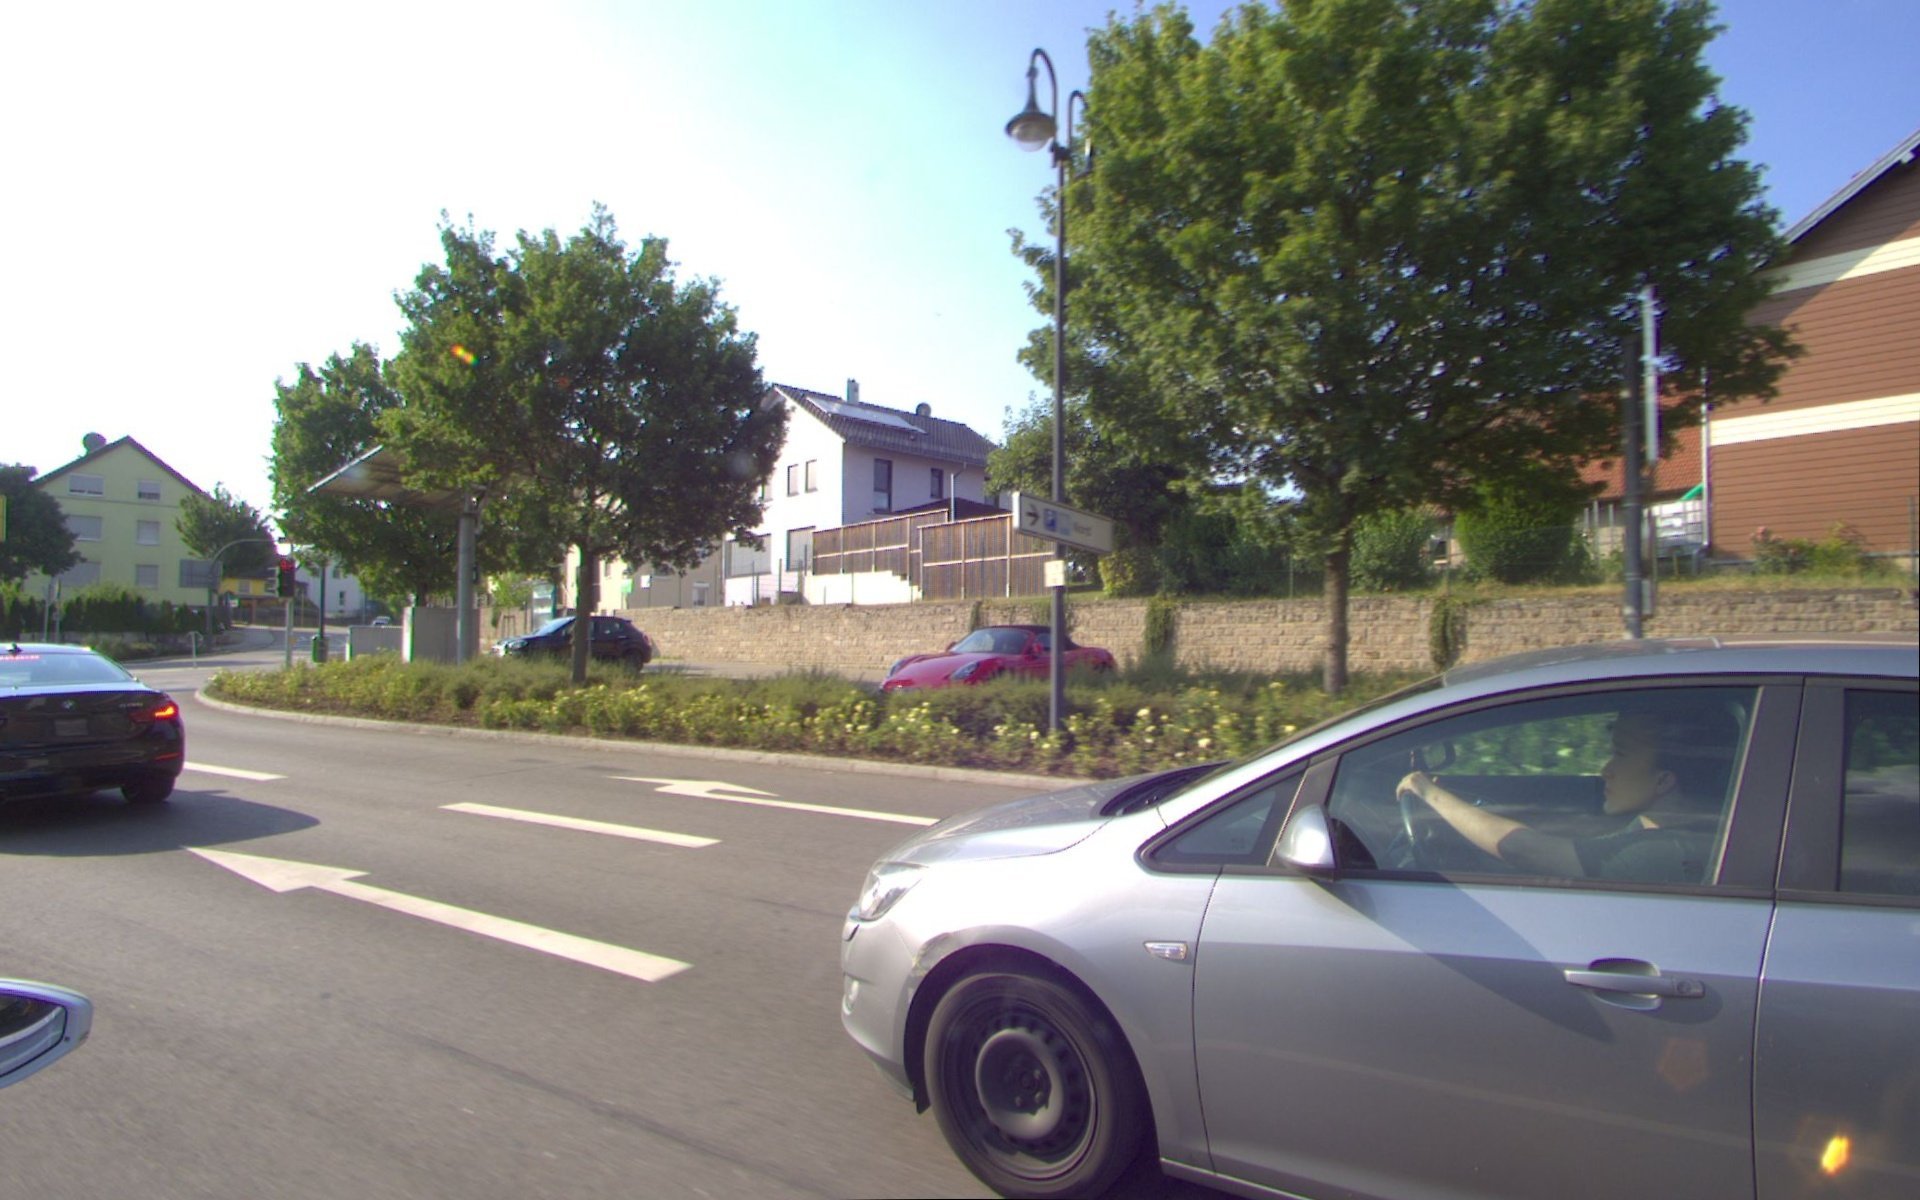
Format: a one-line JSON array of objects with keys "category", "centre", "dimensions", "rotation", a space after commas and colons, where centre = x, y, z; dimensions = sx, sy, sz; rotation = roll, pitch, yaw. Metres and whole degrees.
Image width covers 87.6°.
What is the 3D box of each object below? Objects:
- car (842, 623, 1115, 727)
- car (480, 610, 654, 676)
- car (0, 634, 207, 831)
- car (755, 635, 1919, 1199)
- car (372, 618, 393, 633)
[{"category": "car", "centre": [0.384, 1.010, 14.480], "dimensions": [1.833, 1.288, 3.968], "rotation": [-1, -3, 42]}, {"category": "car", "centre": [-10.501, 1.137, 26.908], "dimensions": [1.835, 1.628, 3.964], "rotation": [-1, -3, 44]}, {"category": "car", "centre": [-8.440, 0.995, 8.625], "dimensions": [4.286, 1.406, 1.812], "rotation": [-1, -2, 34]}, {"category": "car", "centre": [1.590, 0.824, 2.635], "dimensions": [4.106, 1.460, 1.741], "rotation": [-1, -2, 31]}, {"category": "car", "centre": [-68.865, 3.074, 119.453], "dimensions": [1.764, 1.527, 4.051], "rotation": [2, 1, -26]}]
